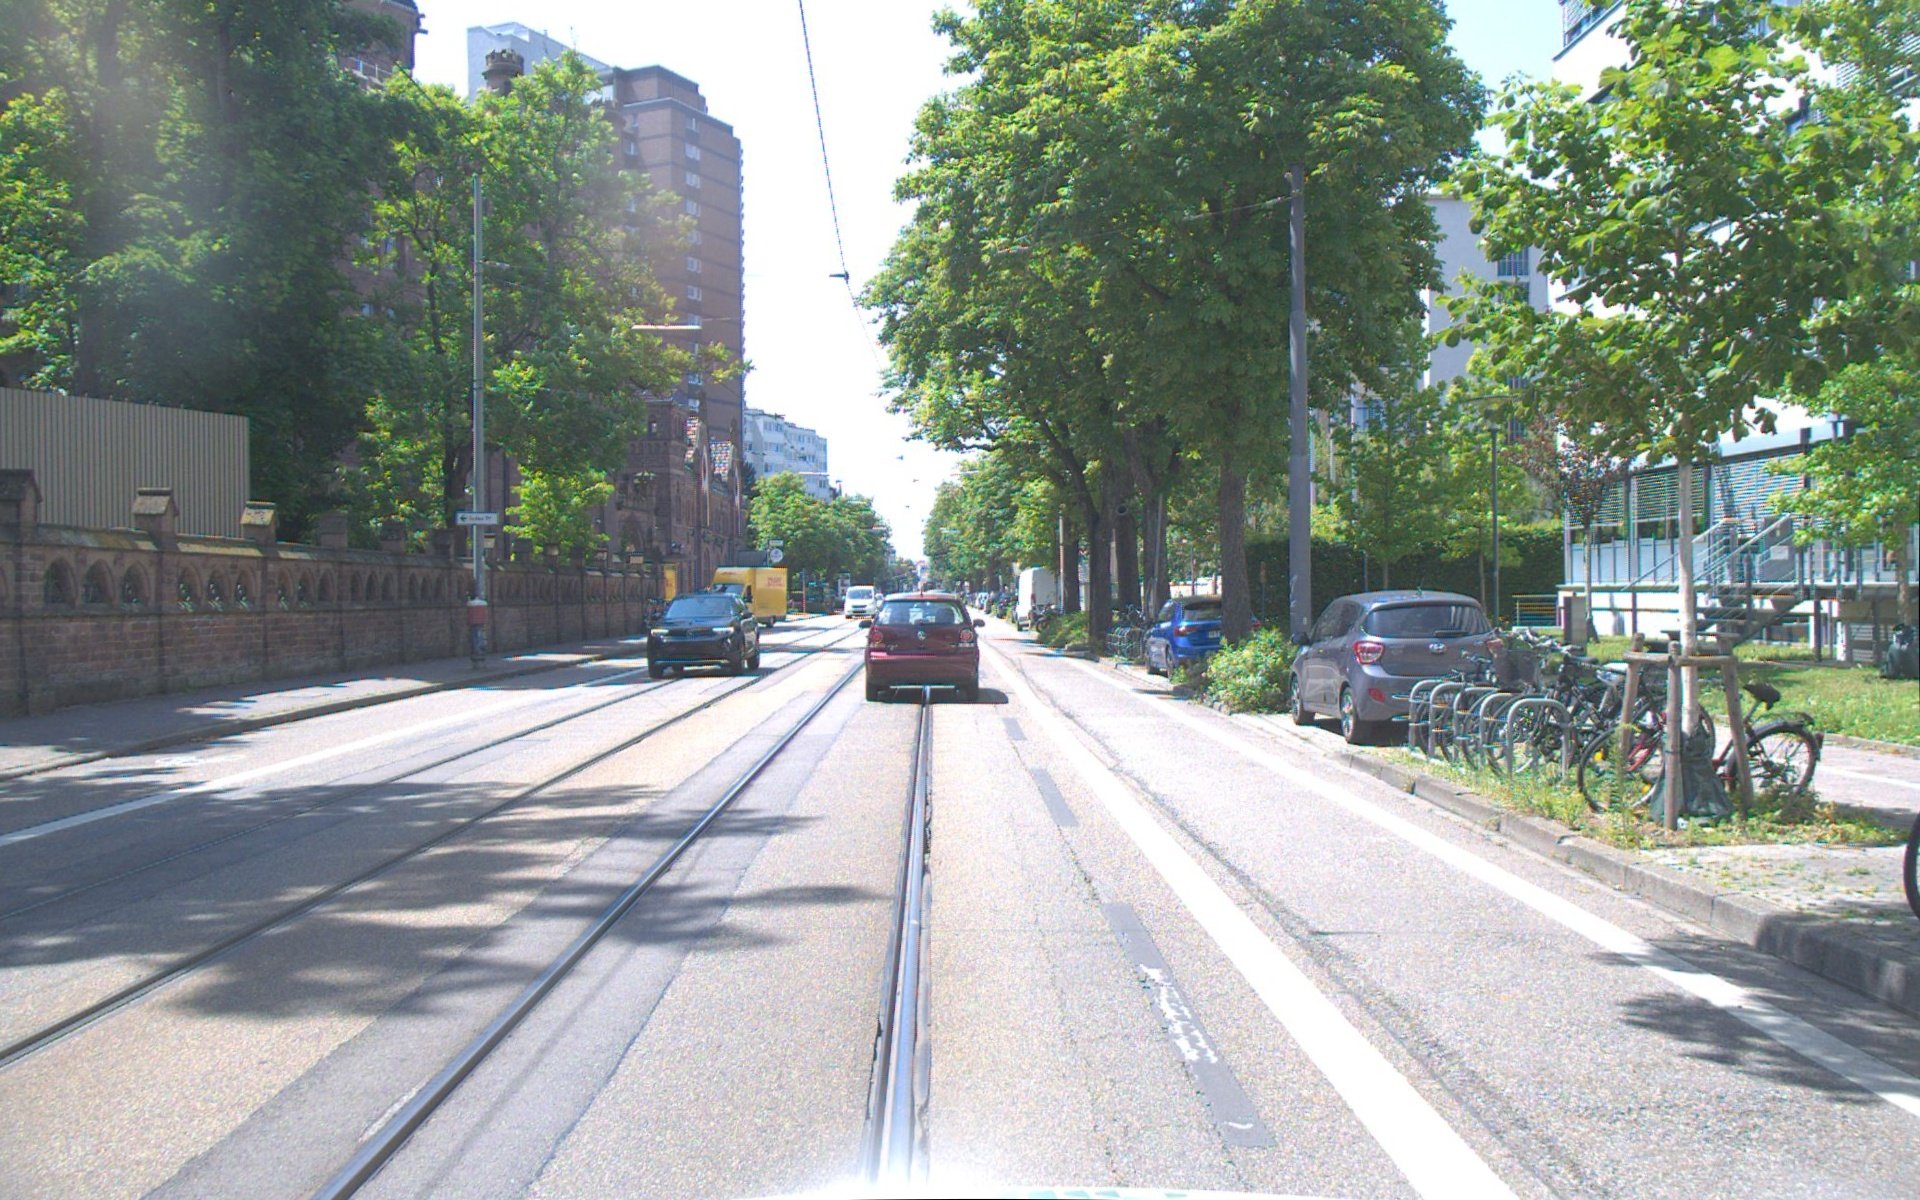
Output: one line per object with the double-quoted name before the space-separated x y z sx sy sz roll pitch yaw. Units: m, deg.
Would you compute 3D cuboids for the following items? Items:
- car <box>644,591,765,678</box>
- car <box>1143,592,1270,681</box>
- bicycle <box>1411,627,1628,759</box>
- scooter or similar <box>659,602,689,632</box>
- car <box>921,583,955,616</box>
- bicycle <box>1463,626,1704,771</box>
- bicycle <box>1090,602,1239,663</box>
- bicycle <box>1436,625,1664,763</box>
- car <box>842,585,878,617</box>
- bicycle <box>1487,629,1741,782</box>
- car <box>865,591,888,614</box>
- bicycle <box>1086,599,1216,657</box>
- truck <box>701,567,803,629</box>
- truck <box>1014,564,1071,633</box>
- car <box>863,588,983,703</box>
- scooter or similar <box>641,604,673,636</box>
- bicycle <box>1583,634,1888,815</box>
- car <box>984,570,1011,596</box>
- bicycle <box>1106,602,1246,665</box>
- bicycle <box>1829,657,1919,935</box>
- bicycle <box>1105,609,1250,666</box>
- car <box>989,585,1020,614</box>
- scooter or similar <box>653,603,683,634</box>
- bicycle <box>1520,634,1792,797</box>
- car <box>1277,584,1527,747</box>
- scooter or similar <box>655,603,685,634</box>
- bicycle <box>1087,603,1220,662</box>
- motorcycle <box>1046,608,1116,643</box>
"car" -4.806 0.607 31.618 1.734 1.542 3.999 -1 0 -1
"car" 4.423 0.618 30.144 1.654 1.494 3.878 -1 0 -1
"bicycle" 4.894 0.802 14.518 1.715 1.104 0.548 -1 0 -1
"scooter or similar" -11.243 0.678 64.934 1.073 1.175 0.524 1 0 -22
"car" -1.403 -0.055 104.834 1.954 2.049 3.998 1 0 -3
"bicycle" 4.967 0.775 13.221 1.715 1.104 0.548 -1 0 -1
"bicycle" 4.670 0.737 37.854 3.300 1.336 0.781 1 0 -3
"bicycle" 4.928 0.773 13.869 1.715 1.104 0.548 -1 0 -1
"car" -6.080 0.066 100.755 1.953 1.887 4.681 -1 0 -1
"bicycle" 4.968 0.790 12.612 1.715 1.104 0.548 -1 0 -1
"car" -6.440 0.155 127.507 1.640 1.685 3.999 1 0 -1
"bicycle" 4.569 0.663 39.715 3.008 1.336 0.781 1 0 -3
"truck" -9.930 -0.104 79.631 2.319 2.835 7.325 -1 0 14
"truck" 3.330 -0.078 67.620 1.953 2.708 4.874 1 0 -1
"car" -0.545 0.600 24.154 1.586 1.512 3.999 -1 0 -2
"scooter or similar" -11.192 0.728 61.100 1.073 1.175 0.524 1 0 -22
"bicycle" 4.994 0.788 10.697 1.715 1.104 0.548 -1 0 -1
"car" 2.541 -1.149 112.128 1.640 1.685 3.999 1 0 -1
"bicycle" 4.815 0.740 36.997 3.008 1.336 0.781 1 0 -3
"bicycle" 4.784 0.792 7.018 1.787 1.104 0.719 -1 -1 2
"bicycle" 4.692 0.809 35.820 3.008 1.175 0.781 1 0 -3
"car" 2.643 -0.024 98.985 1.640 1.685 3.999 1 0 -1
"scooter or similar" -11.333 0.712 64.161 1.073 1.175 0.524 1 0 -22
"bicycle" 4.971 0.816 11.863 1.715 1.104 0.548 -1 0 -1
"car" 4.692 0.637 18.068 1.654 1.529 3.626 -2 0 -1
"scooter or similar" -11.156 0.706 63.616 1.073 1.175 0.524 1 0 -22
"bicycle" 4.534 0.752 38.833 3.008 1.336 0.781 1 0 -3
"motorcycle" 4.366 0.923 59.612 2.501 1.208 0.942 1 0 4
